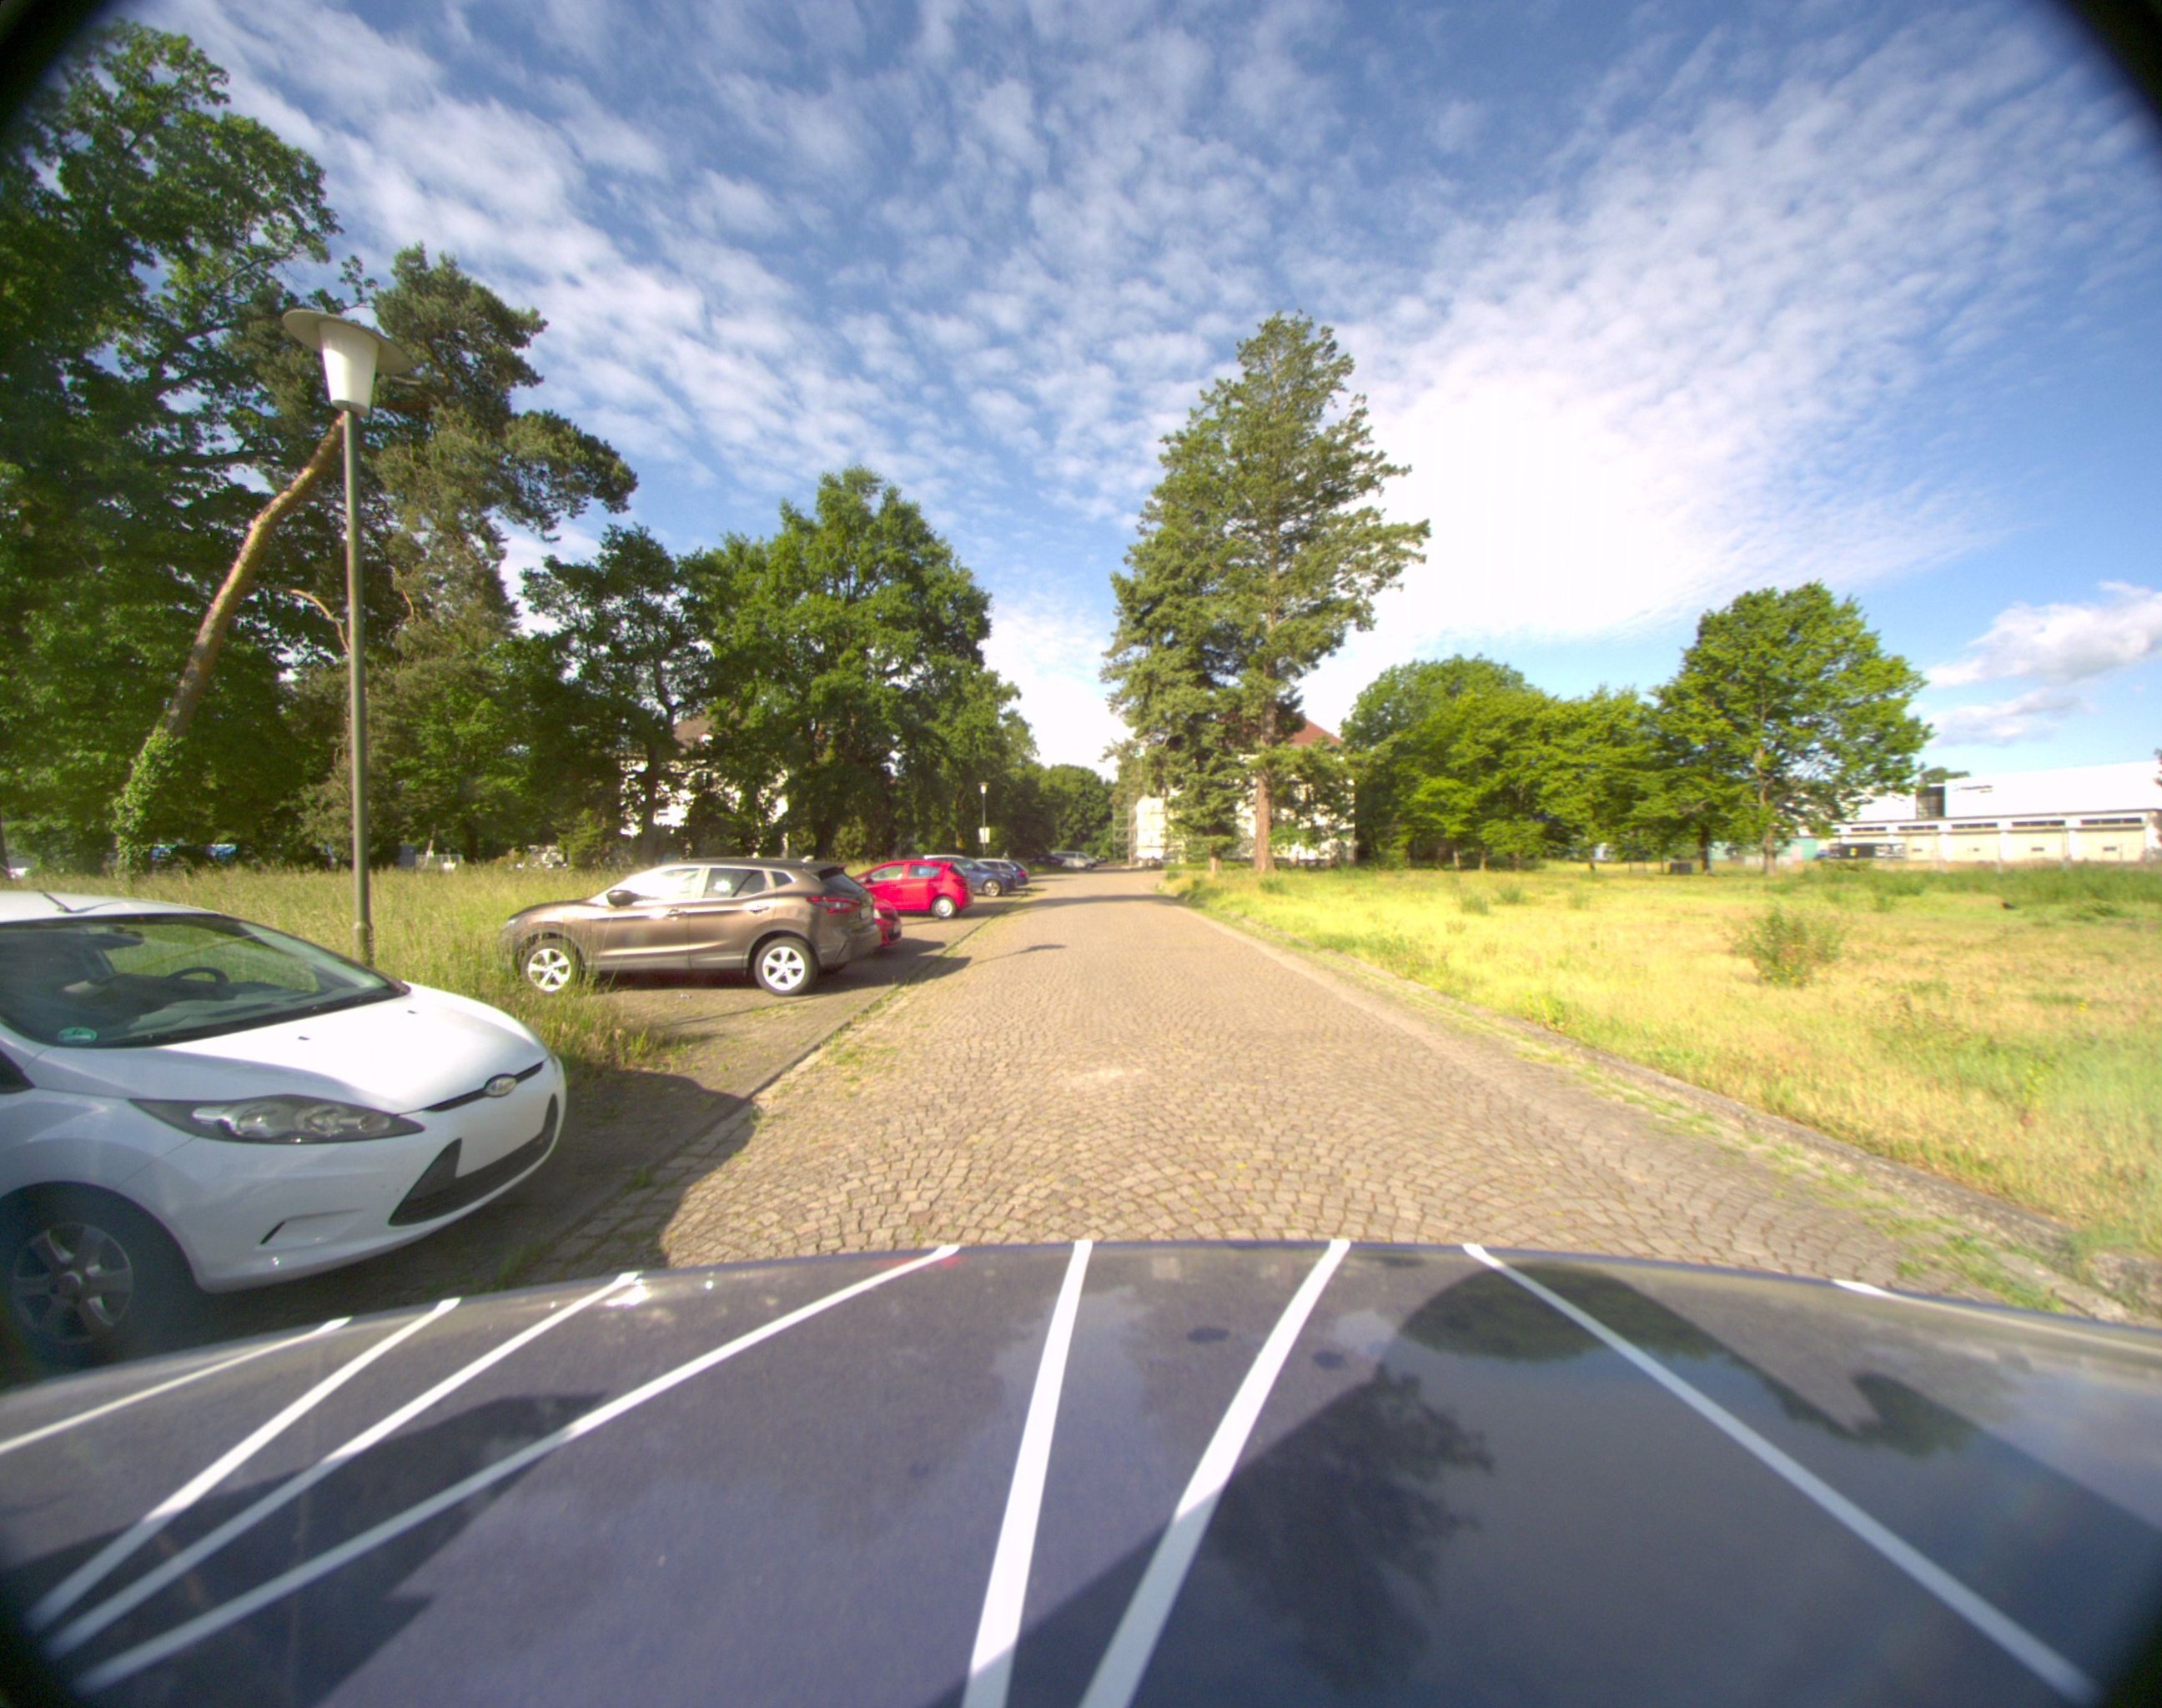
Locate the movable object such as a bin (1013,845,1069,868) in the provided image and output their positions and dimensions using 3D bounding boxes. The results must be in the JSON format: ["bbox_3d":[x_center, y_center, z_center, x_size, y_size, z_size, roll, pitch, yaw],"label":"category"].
[{"bbox_3d":[-3.698,0.257,70.600,4.865,2.002,2.002,-1,0,13],"label":"movable object such as a bin"}]

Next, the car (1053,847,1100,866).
[{"bbox_3d":[-0.518,0.255,83.385,4.933,2.002,1.999,1,1,-6],"label":"car"}]

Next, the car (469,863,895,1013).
[{"bbox_3d":[-4.652,0.942,9.441,4.237,1.589,1.934,0,1,-3],"label":"car"}]

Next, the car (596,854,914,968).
[{"bbox_3d":[-4.997,0.851,12.145,4.237,1.589,1.934,1,1,-3],"label":"car"}]

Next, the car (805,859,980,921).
[{"bbox_3d":[-4.816,0.907,19.838,4.098,1.451,1.853,1,0,-1],"label":"car"}]

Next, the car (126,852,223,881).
[{"bbox_3d":[-68.019,0.929,57.129,1.906,1.928,4.395,-3,1,1],"label":"car"}]

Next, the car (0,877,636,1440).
[{"bbox_3d":[-4.663,0.931,3.215,4.408,1.568,1.939,1,1,0],"label":"car"}]

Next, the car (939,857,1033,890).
[{"bbox_3d":[-4.285,0.871,34.751,4.098,1.415,1.784,1,0,-1],"label":"car"}]

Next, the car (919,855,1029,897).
[{"bbox_3d":[-4.155,0.845,30.009,4.098,1.548,1.853,1,0,-1],"label":"car"}]
